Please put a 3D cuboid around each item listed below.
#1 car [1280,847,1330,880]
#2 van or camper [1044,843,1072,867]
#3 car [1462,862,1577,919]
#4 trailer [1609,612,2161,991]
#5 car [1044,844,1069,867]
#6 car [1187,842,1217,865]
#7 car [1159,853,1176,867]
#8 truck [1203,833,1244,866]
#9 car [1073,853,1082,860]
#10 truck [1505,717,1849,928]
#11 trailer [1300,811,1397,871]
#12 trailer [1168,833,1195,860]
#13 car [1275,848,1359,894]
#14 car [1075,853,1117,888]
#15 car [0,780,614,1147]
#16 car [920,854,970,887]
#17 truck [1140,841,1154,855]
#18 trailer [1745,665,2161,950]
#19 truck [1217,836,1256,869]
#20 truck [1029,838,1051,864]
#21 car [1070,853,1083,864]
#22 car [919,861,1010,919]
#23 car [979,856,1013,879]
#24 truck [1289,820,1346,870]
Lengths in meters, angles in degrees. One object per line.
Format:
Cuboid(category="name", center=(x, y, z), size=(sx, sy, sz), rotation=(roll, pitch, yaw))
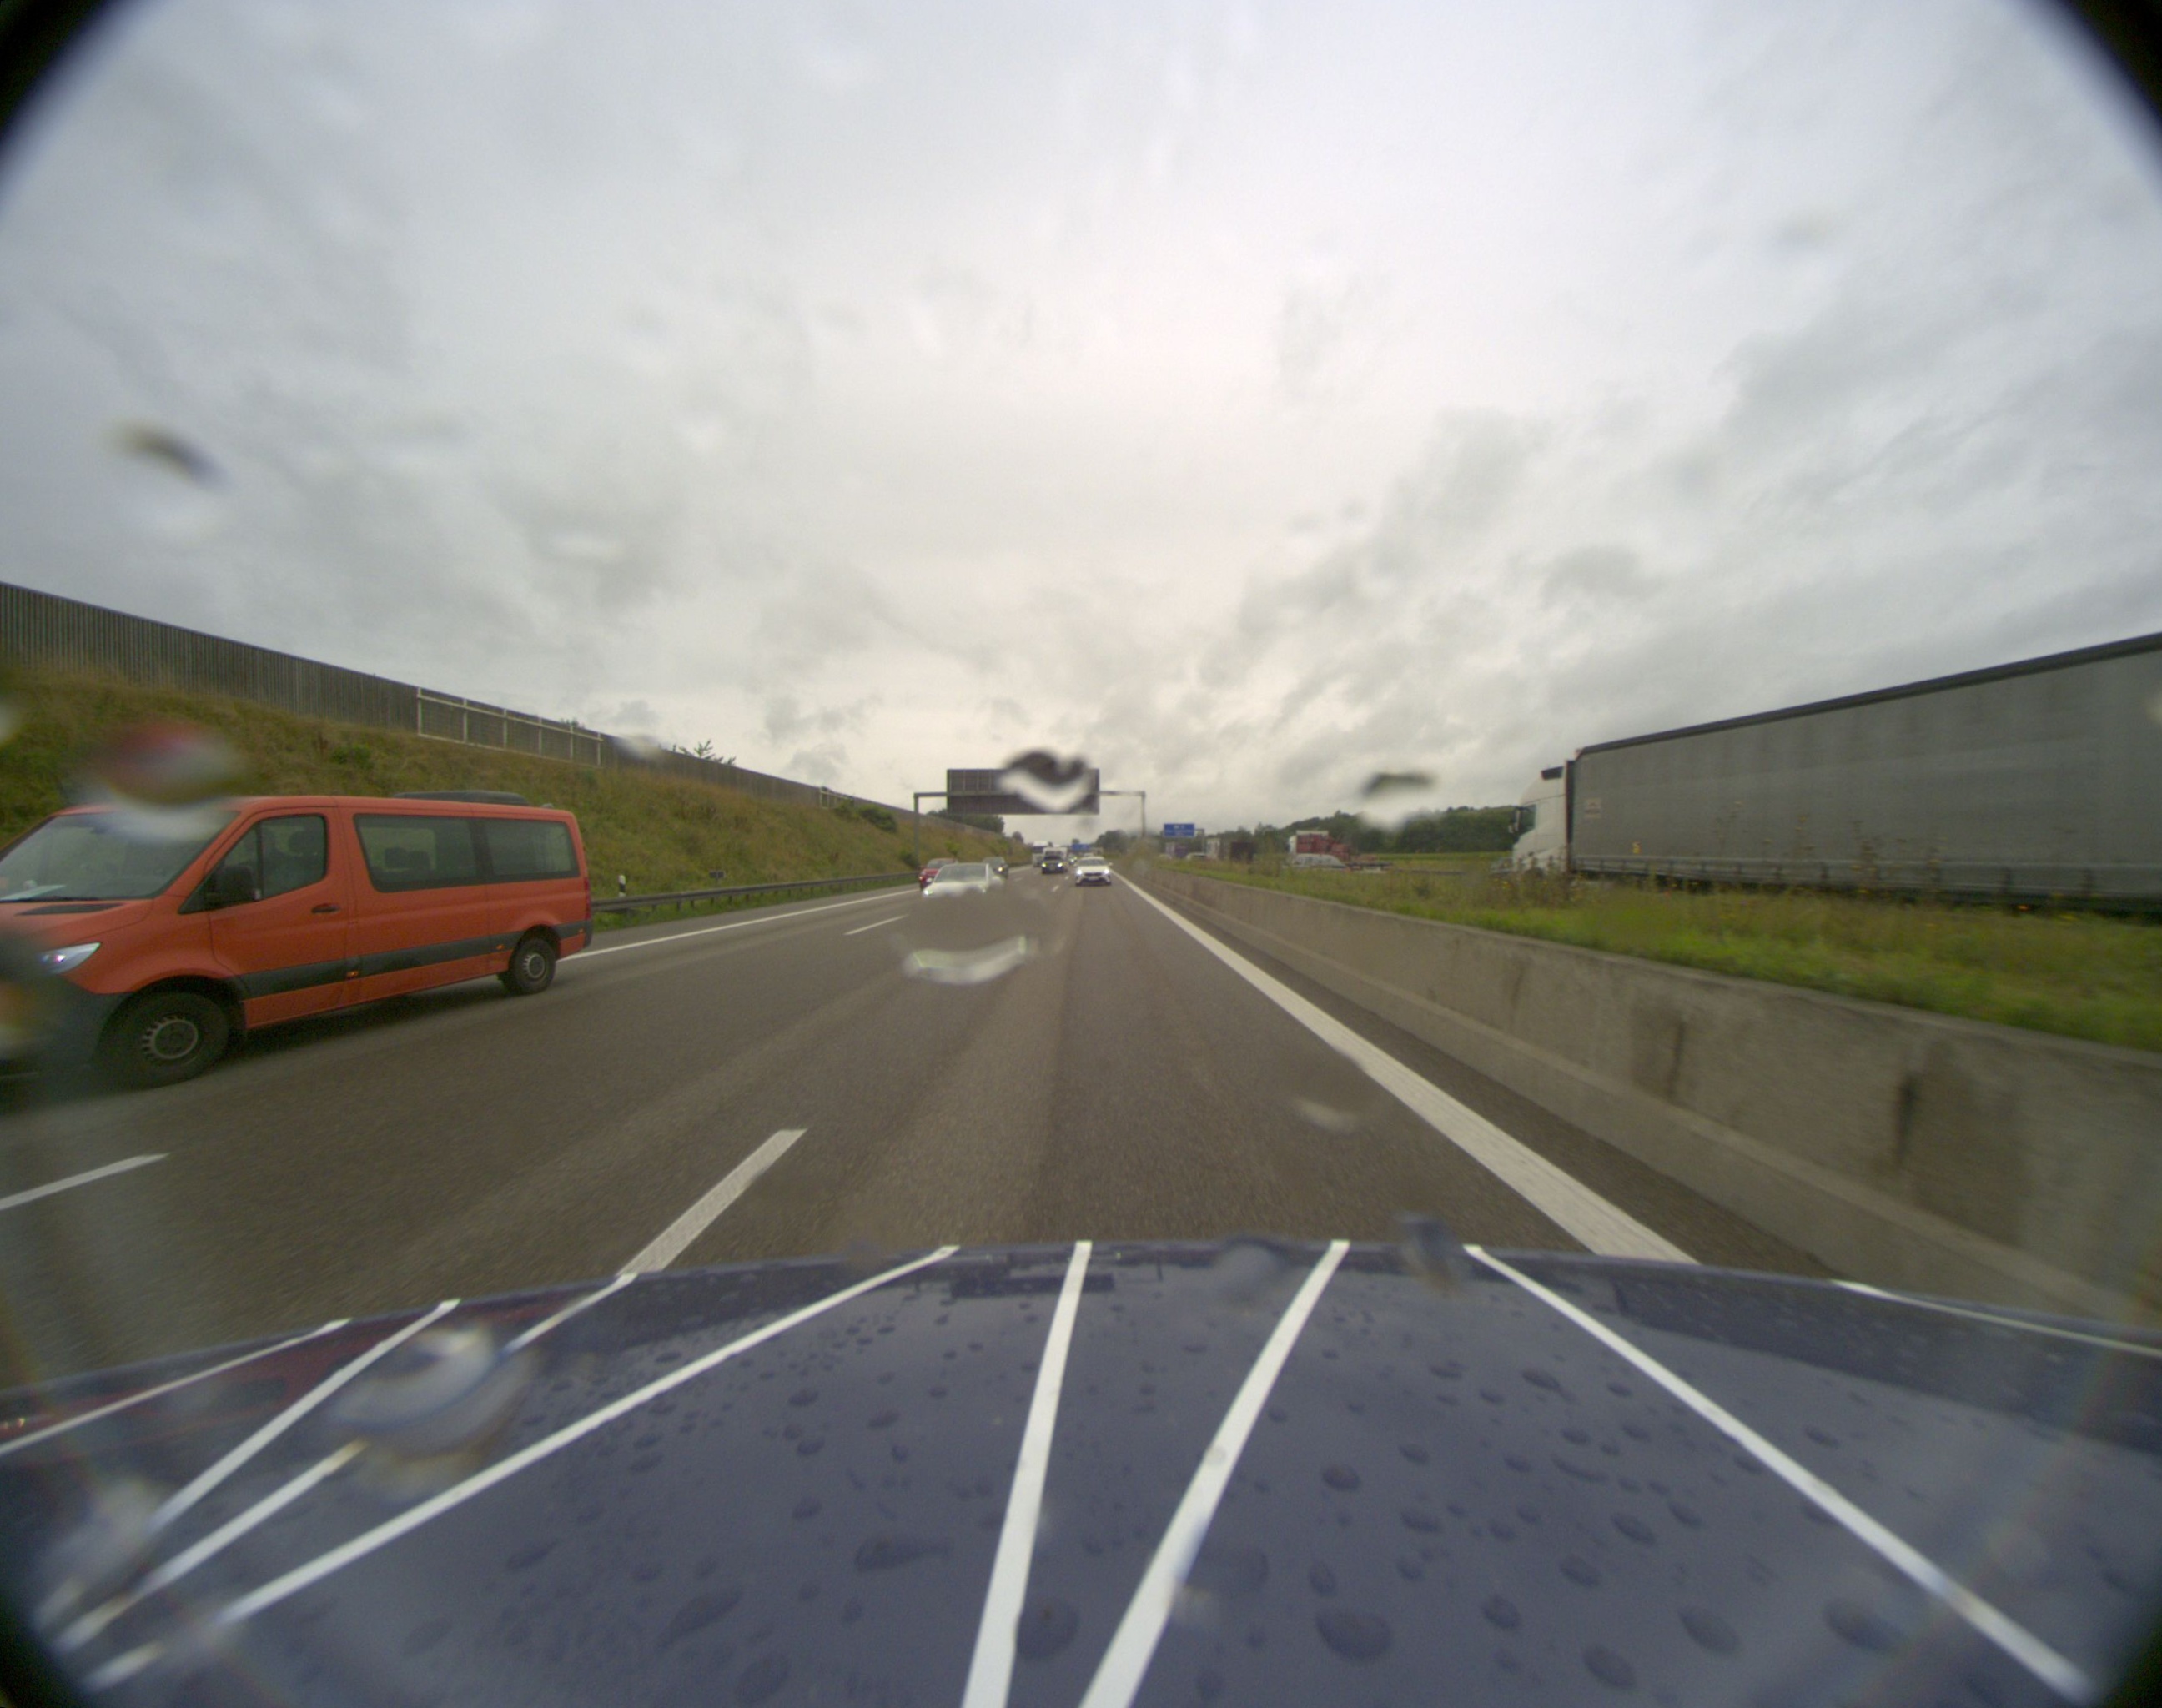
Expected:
Cuboid(category="car", center=(14.247, 0.564, 48.505), size=(1.998, 2.002, 4.360), rotation=(0, 0, 1))
Cuboid(category="van or camper", center=(-2.200, 0.016, 74.885), size=(2.432, 2.139, 6.497), rotation=(-2, 1, 1))
Cuboid(category="car", center=(17.228, 1.382, 30.162), size=(1.998, 2.002, 4.621), rotation=(0, 0, 1))
Cuboid(category="trailer", center=(13.220, -0.651, 10.715), size=(3.093, 4.065, 12.328), rotation=(-2, 1, 1))
Cuboid(category="car", center=(-2.174, 0.088, 69.322), size=(1.998, 2.002, 4.937), rotation=(-2, 1, 1))
Cuboid(category="car", center=(10.979, -0.070, 69.134), size=(1.998, 2.002, 4.800), rotation=(0, 0, 1))
Cuboid(category="car", center=(11.540, 0.785, 101.571), size=(1.785, 1.707, 3.999), rotation=(-2, 1, 1))
Cuboid(category="truck", center=(20.535, -0.697, 110.457), size=(3.521, 4.458, 11.784), rotation=(-2, 1, -1))
Cuboid(category="car", center=(-0.819, 0.688, 190.886), size=(1.998, 1.696, 3.999), rotation=(-2, 1, 1))
Cuboid(category="truck", center=(13.327, -0.644, 17.899), size=(3.100, 3.953, 6.371), rotation=(-2, 1, 1))
Cuboid(category="trailer", center=(18.638, -0.733, 54.022), size=(2.647, 3.703, 12.195), rotation=(-2, -1, 1))
Cuboid(category="trailer", center=(19.207, -1.447, 146.088), size=(3.396, 4.741, 11.679), rotation=(-2, 0, 0))
Cuboid(category="car", center=(9.655, 0.637, 31.511), size=(2.098, 1.700, 4.800), rotation=(-1, 0, 2))
Cuboid(category="car", center=(0.722, 0.757, 36.965), size=(1.840, 1.455, 3.999), rotation=(-2, 1, 1))
Cuboid(category="car", center=(-7.782, 0.694, 7.740), size=(2.091, 2.301, 6.181), rotation=(-1, 0, 1))
Cuboid(category="car", center=(-7.062, 0.834, 39.845), size=(1.878, 1.526, 3.999), rotation=(-2, 1, 0))
Cuboid(category="truck", center=(19.315, -1.910, 223.845), size=(3.191, 3.944, 10.809), rotation=(-2, 1, 1))
Cuboid(category="trailer", center=(17.912, -0.747, 10.657), size=(3.722, 4.246, 15.622), rotation=(-2, 1, 1))
Cuboid(category="truck", center=(14.767, -0.187, 72.594), size=(2.317, 2.892, 7.423), rotation=(-2, 1, 1))
Cuboid(category="truck", center=(-6.491, -0.529, 121.468), size=(3.090, 4.003, 6.955), rotation=(-2, 1, -1))
Cuboid(category="car", center=(-0.743, 0.680, 121.978), size=(1.999, 1.759, 3.999), rotation=(0, 0, -2))
Cuboid(category="car", center=(-3.315, 0.965, 22.545), size=(1.878, 1.355, 4.812), rotation=(-2, 1, 0))
Cuboid(category="car", center=(-6.182, 0.976, 55.622), size=(1.929, 1.480, 4.485), rotation=(-2, 1, 0))
Cuboid(category="truck", center=(18.787, -0.630, 60.737), size=(2.647, 3.703, 5.872), rotation=(-2, -1, 1))
